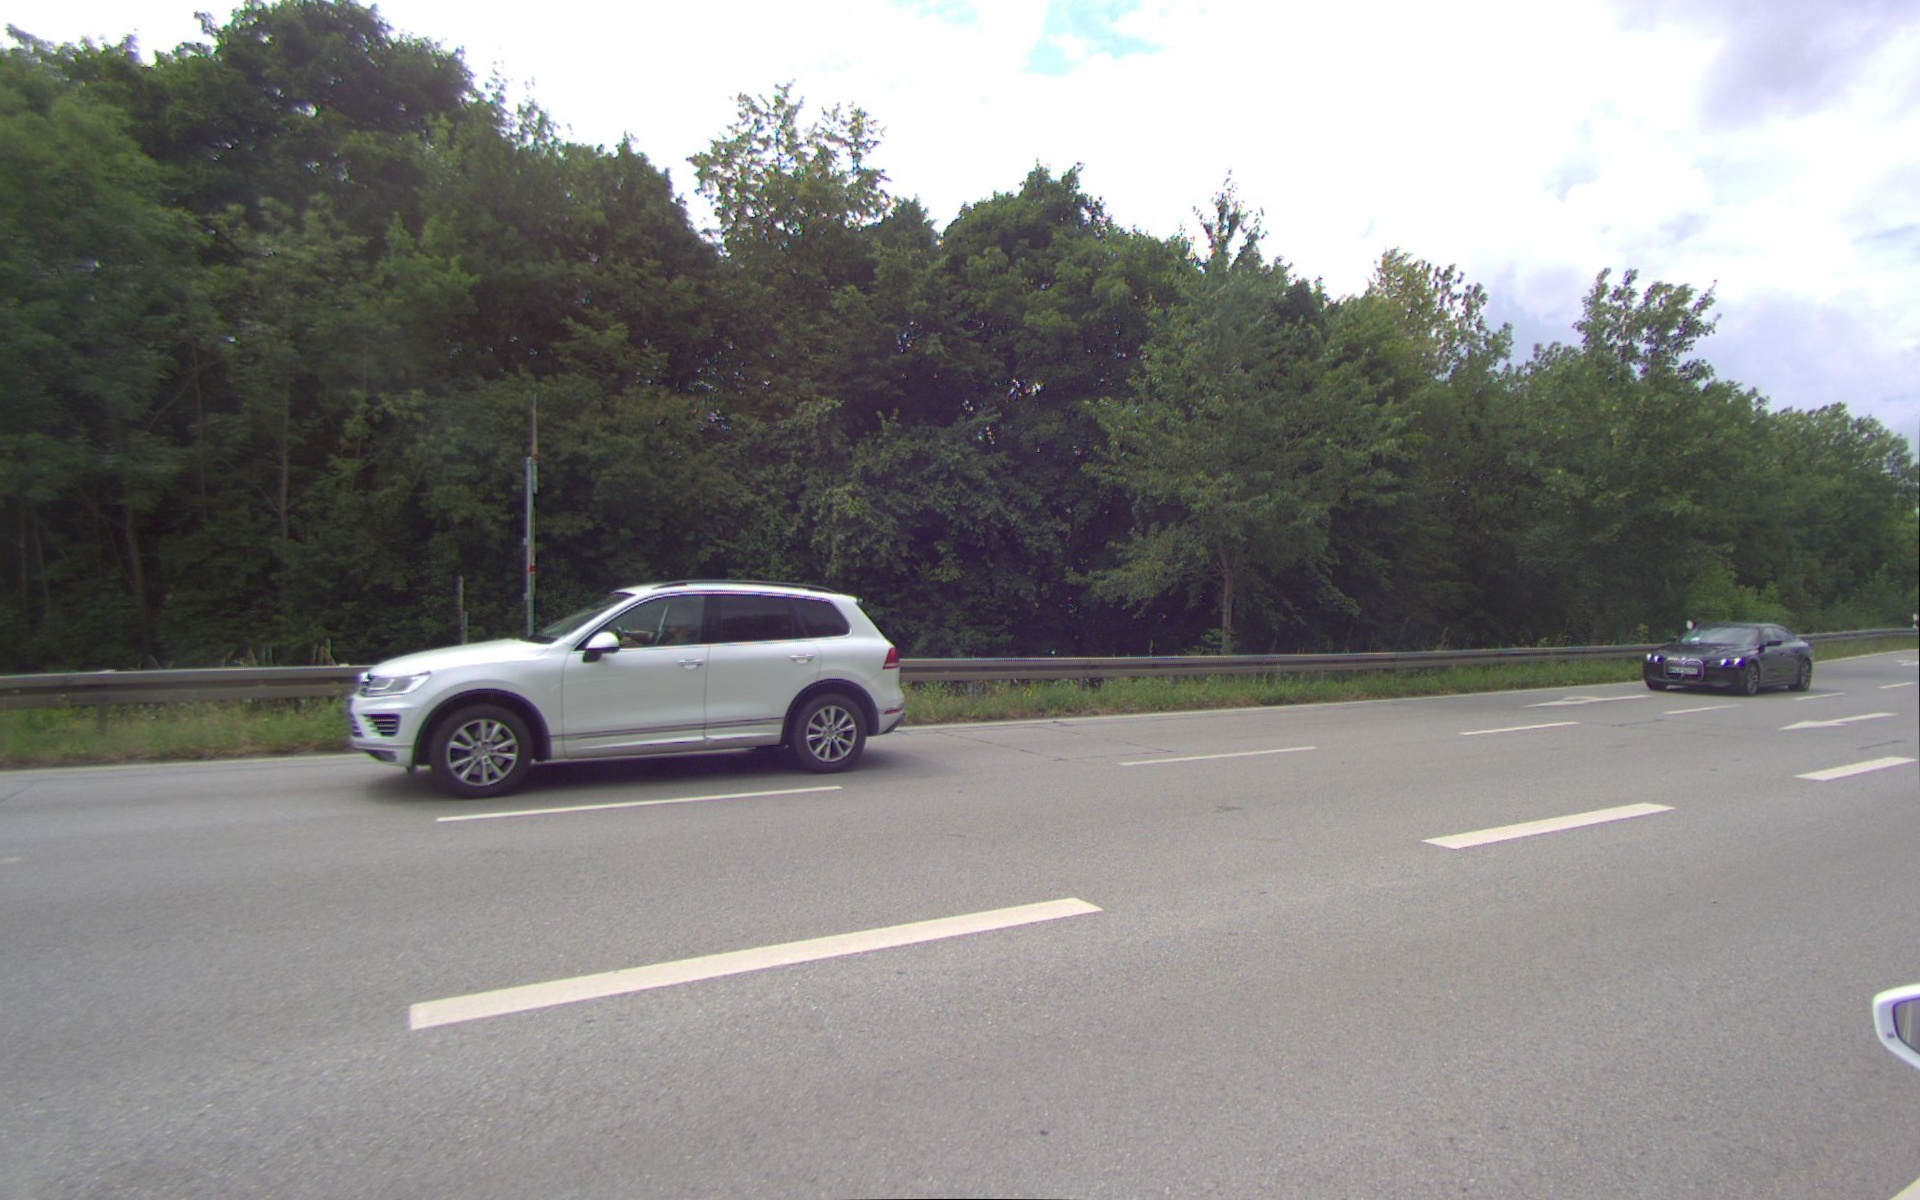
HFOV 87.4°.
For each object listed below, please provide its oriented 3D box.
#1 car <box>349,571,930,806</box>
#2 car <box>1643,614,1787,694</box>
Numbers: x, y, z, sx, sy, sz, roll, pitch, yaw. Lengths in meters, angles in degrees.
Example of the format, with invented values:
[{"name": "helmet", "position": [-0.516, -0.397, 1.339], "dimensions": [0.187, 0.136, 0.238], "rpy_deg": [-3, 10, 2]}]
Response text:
[{"name": "car", "position": [-2.764, 0.662, 9.110], "dimensions": [4.682, 1.665, 1.848], "rpy_deg": [1, 0, -31]}, {"name": "car", "position": [16.248, 1.075, 21.530], "dimensions": [4.515, 1.518, 1.701], "rpy_deg": [1, 0, -43]}]
